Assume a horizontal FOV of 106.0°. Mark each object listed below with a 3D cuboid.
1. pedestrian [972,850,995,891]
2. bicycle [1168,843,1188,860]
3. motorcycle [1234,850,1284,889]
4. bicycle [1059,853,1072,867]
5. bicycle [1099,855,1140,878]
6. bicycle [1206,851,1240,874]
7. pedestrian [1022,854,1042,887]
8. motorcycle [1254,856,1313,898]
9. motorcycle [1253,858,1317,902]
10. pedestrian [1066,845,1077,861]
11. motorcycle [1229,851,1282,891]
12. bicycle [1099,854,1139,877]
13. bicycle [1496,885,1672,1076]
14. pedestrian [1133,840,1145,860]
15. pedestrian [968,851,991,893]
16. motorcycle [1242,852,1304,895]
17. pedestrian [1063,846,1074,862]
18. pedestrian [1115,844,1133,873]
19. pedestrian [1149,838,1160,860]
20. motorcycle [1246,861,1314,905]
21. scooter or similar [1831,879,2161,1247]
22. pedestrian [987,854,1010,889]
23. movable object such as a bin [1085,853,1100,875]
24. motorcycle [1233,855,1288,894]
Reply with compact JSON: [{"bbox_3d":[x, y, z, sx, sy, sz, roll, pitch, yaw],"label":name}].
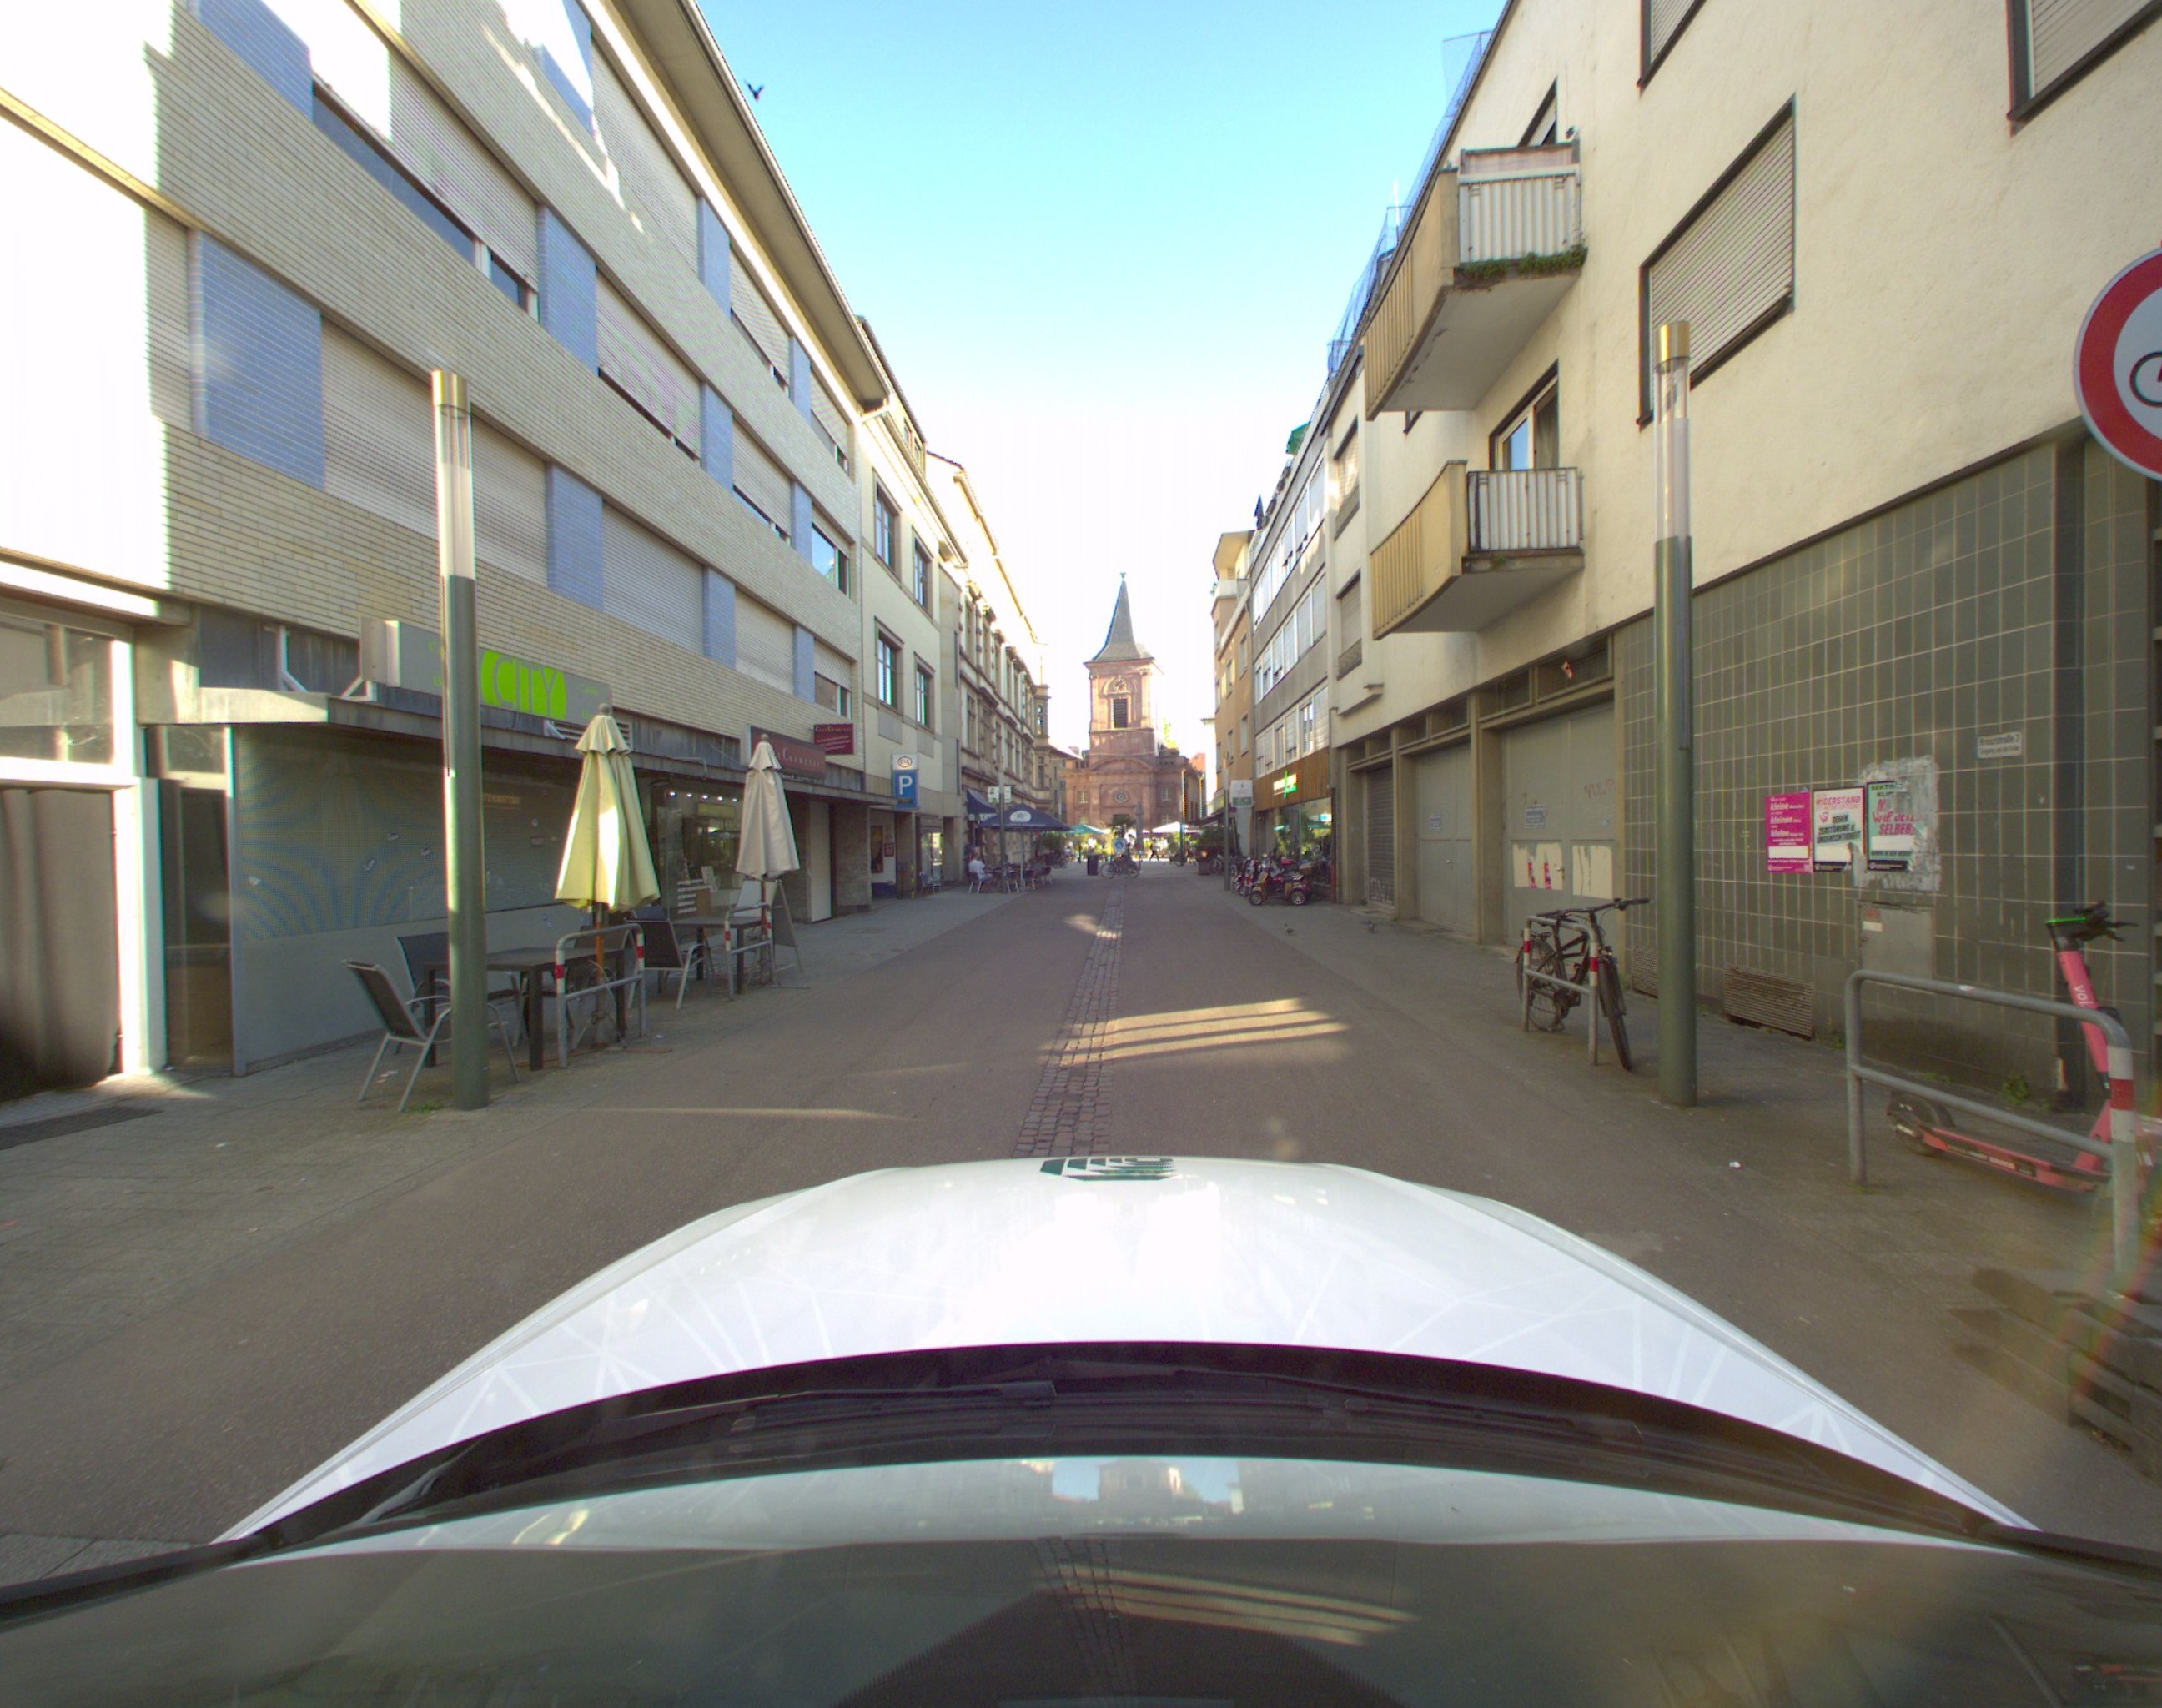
[{"bbox_3d":[-3.344,0.564,27.892,0.717,1.368,0.708,-1,1,-9],"label":"pedestrian"},{"bbox_3d":[7.487,-0.192,62.704,1.594,1.308,0.362,-1,1,-26],"label":"bicycle"},{"bbox_3d":[5.595,0.501,25.599,1.472,1.181,0.414,-2,0,18],"label":"motorcycle"},{"bbox_3d":[-0.932,0.352,49.587,0.454,0.850,2.150,-1,1,7],"label":"bicycle"},{"bbox_3d":[1.743,0.564,37.070,1.818,1.005,0.381,-1,0,-1],"label":"bicycle"},{"bbox_3d":[6.370,0.370,36.572,1.454,1.005,0.574,-1,0,10],"label":"bicycle"},{"bbox_3d":[-1.840,0.609,30.472,0.691,1.215,0.582,-1,1,-5],"label":"pedestrian"},{"bbox_3d":[5.386,0.623,21.672,1.471,1.075,0.414,-1,0,21],"label":"motorcycle"},{"bbox_3d":[5.186,0.655,20.687,1.503,1.075,0.414,-1,0,21],"label":"motorcycle"},{"bbox_3d":[-0.772,-0.075,65.147,0.696,1.218,0.721,-1,0,9],"label":"pedestrian"},{"bbox_3d":[5.254,0.519,24.531,1.472,1.181,0.414,-2,0,18],"label":"motorcycle"},{"bbox_3d":[1.753,0.510,37.465,1.818,1.005,0.381,-1,0,-1],"label":"bicycle"},{"bbox_3d":[3.589,0.825,5.966,0.444,1.140,1.714,-1,-1,8],"label":"bicycle"},{"bbox_3d":[4.672,-0.307,65.539,0.616,1.641,0.650,-1,1,-41],"label":"pedestrian"},{"bbox_3d":[-3.356,0.593,26.966,0.708,1.368,0.718,-1,1,-9],"label":"pedestrian"},{"bbox_3d":[5.378,0.552,22.877,1.611,1.175,0.483,-1,0,21],"label":"motorcycle"},{"bbox_3d":[-0.958,0.006,63.722,0.696,1.218,0.721,-1,0,9],"label":"pedestrian"},{"bbox_3d":[2.205,0.207,41.608,0.880,1.464,0.731,-1,0,3],"label":"pedestrian"},{"bbox_3d":[5.270,-0.335,58.395,0.779,1.555,0.536,-1,0,7],"label":"pedestrian"},{"bbox_3d":[4.877,0.715,19.938,1.550,1.041,0.374,-1,0,21],"label":"motorcycle"},{"bbox_3d":[3.955,0.757,3.501,0.306,1.252,1.239,-1,0,0],"label":"scooter or similar"},{"bbox_3d":[-3.008,0.614,29.762,0.763,1.233,0.830,-1,1,-5],"label":"pedestrian"},{"bbox_3d":[0.586,0.485,40.428,0.719,1.074,0.374,-1,0,1],"label":"movable object such as a bin"},{"bbox_3d":[5.218,0.598,23.657,1.471,1.075,0.414,-1,0,21],"label":"motorcycle"}]
